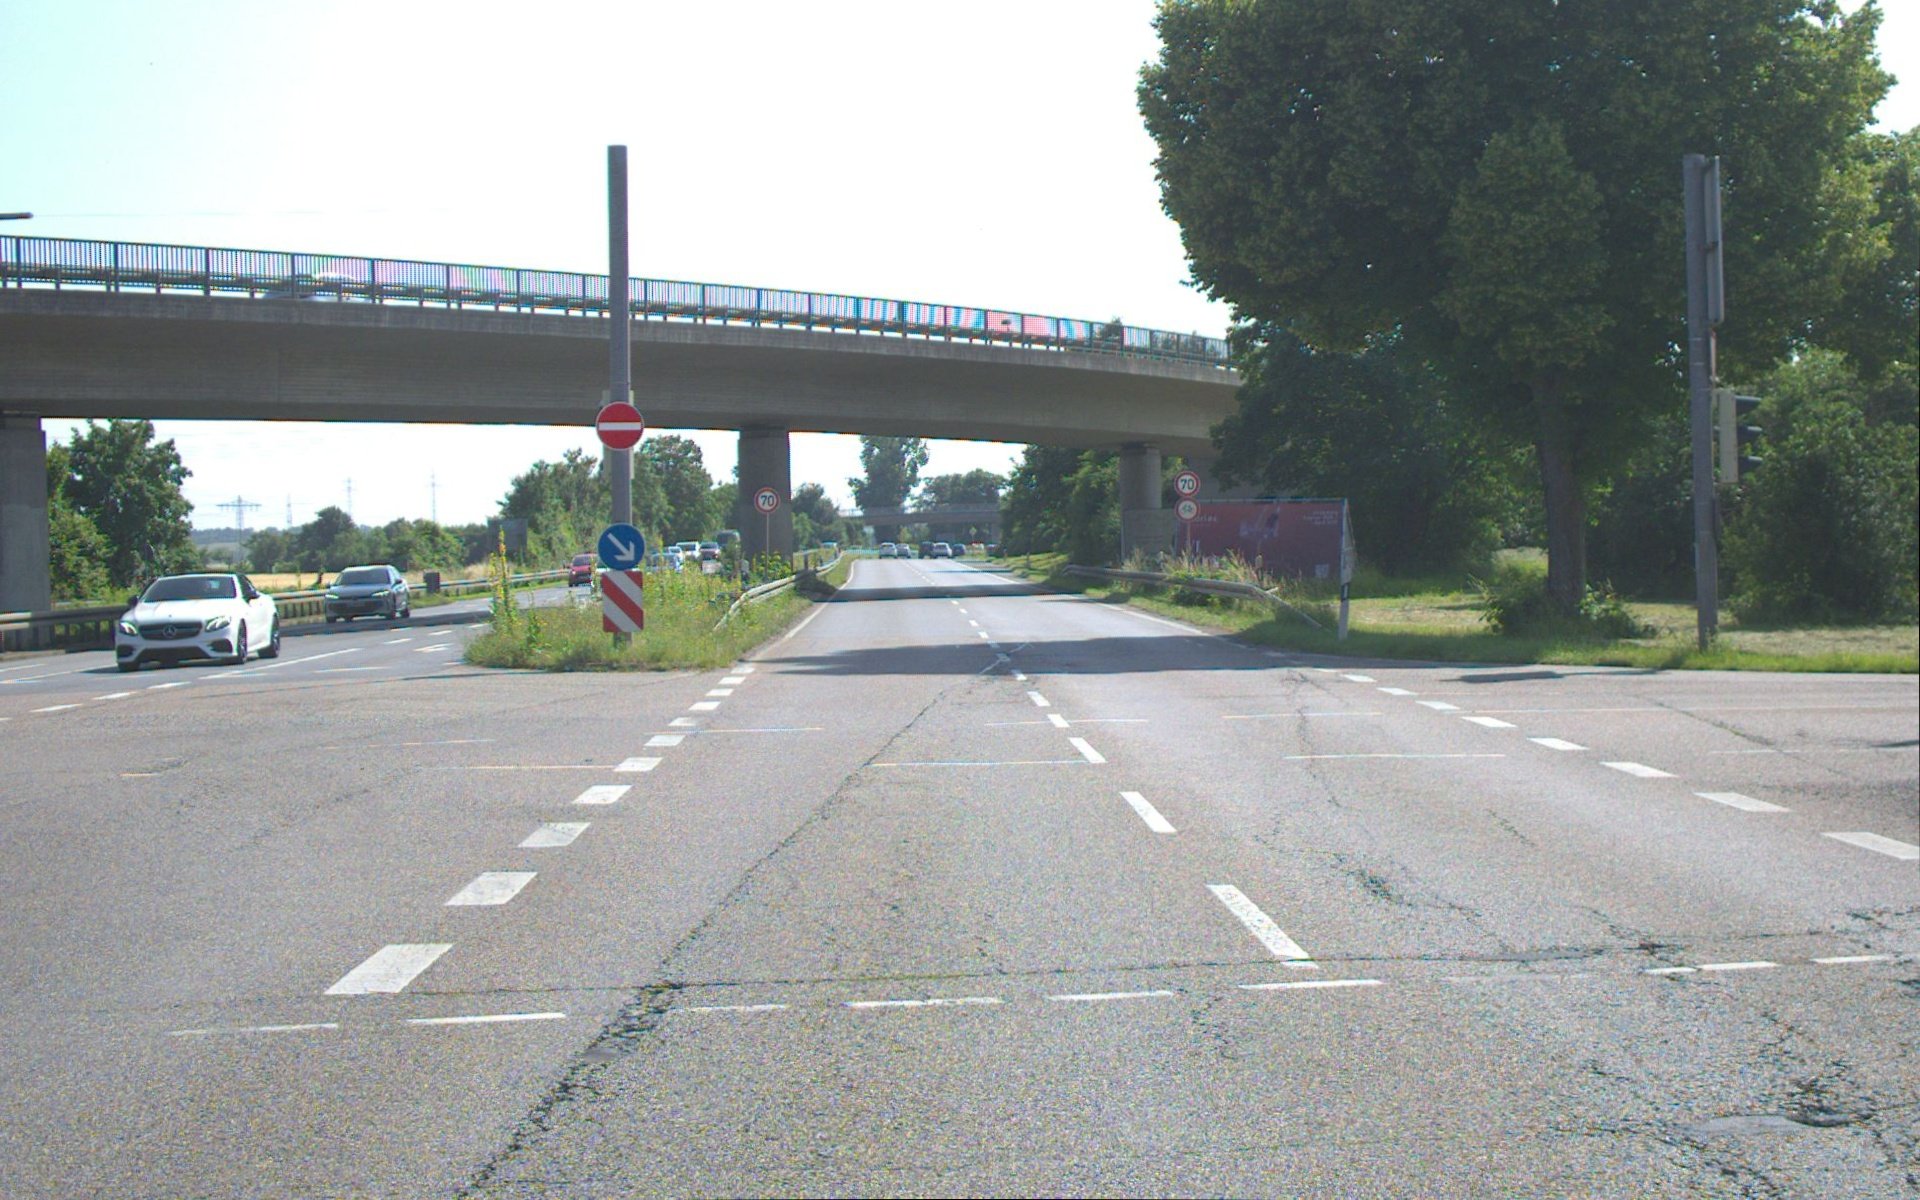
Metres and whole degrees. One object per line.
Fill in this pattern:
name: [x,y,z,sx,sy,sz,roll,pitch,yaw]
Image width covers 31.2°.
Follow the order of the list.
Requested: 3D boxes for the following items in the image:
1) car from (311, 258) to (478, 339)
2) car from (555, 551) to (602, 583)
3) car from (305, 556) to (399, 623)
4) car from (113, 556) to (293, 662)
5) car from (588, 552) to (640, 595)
car: [-12.680,-6.750,77.221,1.741,1.464,3.744,1,0,29]
car: [-19.176,-1.672,172.856,1.993,1.553,4.000,-2,1,-2]
car: [-15.847,-0.293,89.727,1.790,1.622,4.000,-2,1,-2]
car: [-11.621,0.108,53.031,1.856,1.443,4.241,-3,1,-1]
car: [-12.948,-1.012,128.698,1.557,1.535,4.000,-2,1,-1]
